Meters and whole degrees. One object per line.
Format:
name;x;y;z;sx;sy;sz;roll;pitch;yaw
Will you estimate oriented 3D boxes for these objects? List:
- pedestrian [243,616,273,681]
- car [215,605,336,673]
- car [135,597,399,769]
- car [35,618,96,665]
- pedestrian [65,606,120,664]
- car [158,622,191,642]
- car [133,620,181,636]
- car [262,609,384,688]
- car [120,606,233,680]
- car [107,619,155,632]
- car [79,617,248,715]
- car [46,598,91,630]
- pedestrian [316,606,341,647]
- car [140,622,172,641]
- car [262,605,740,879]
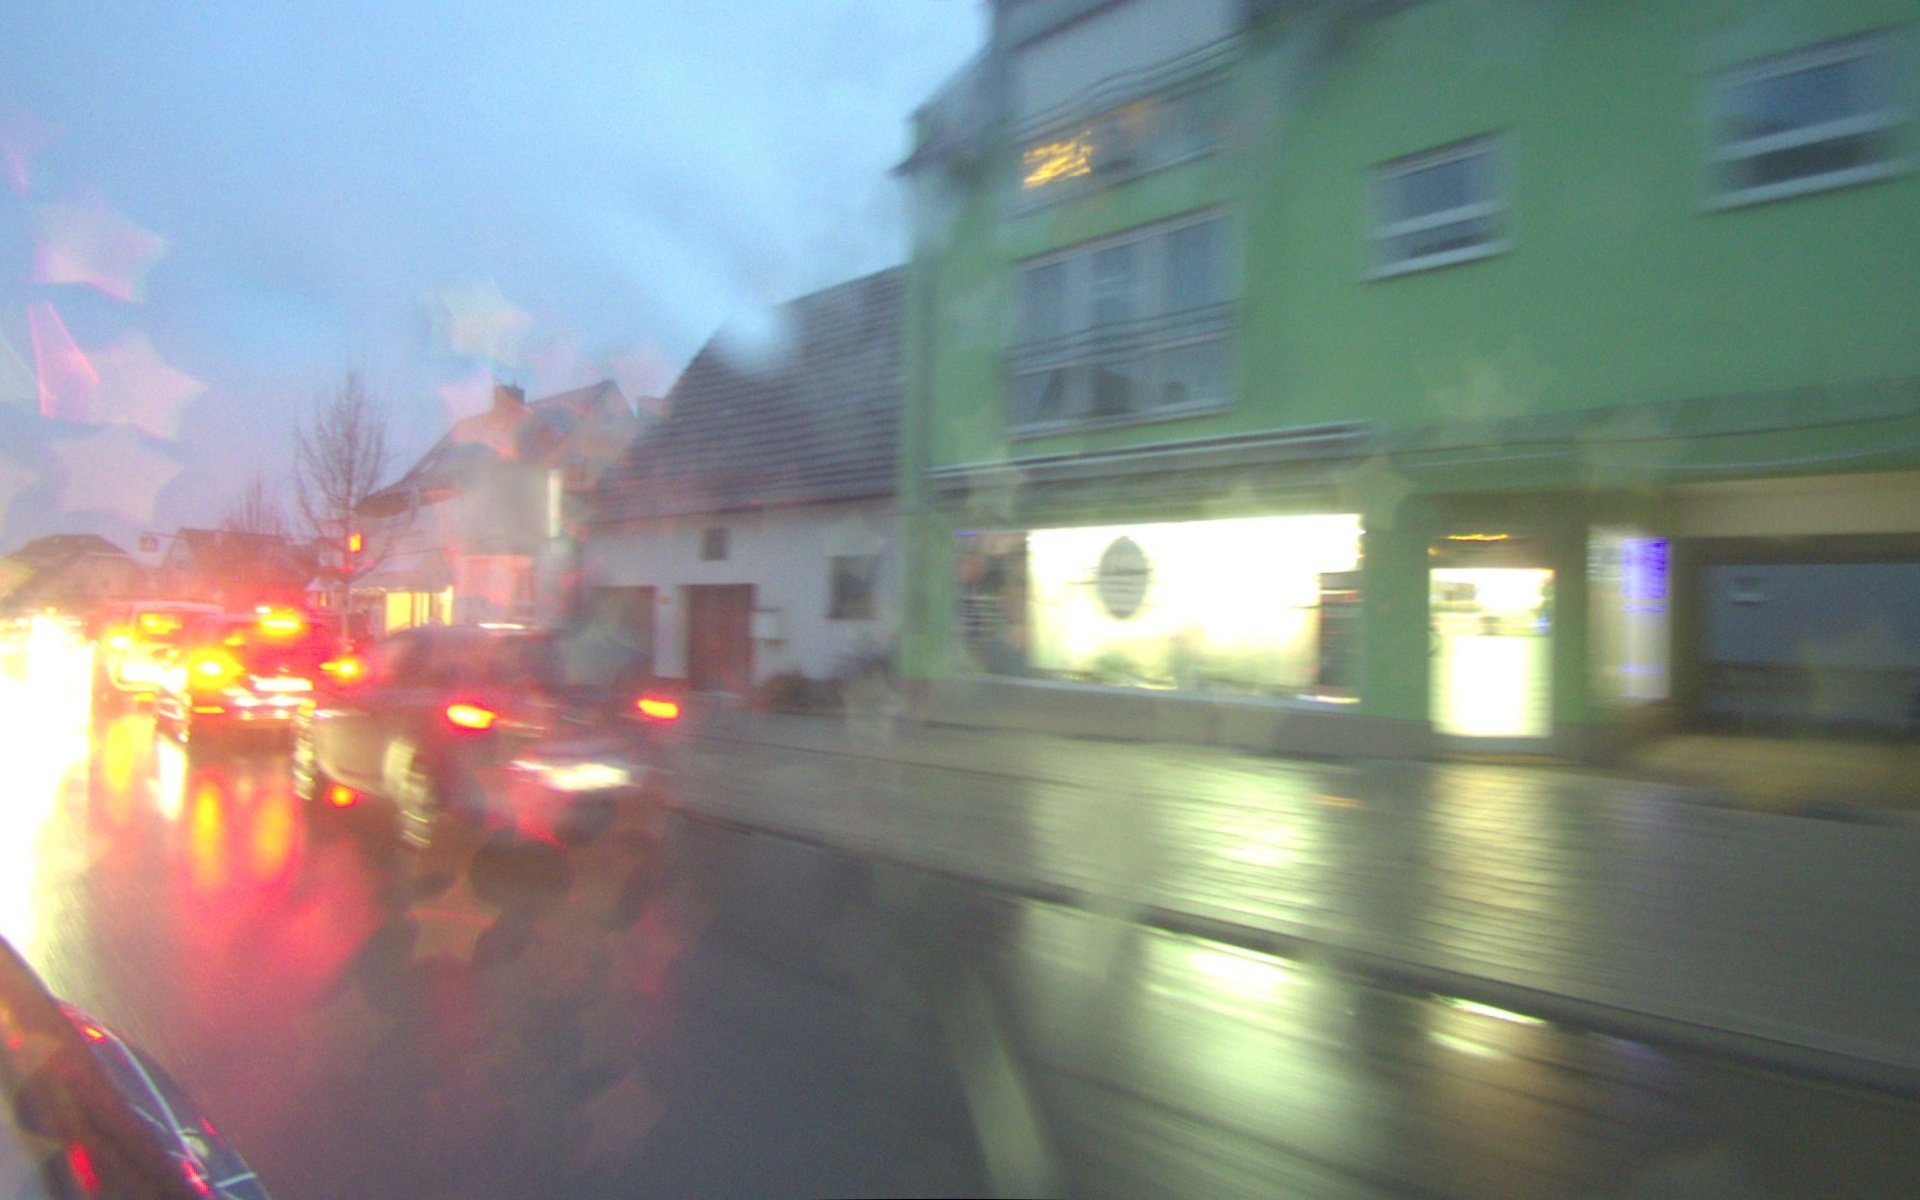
pedestrian;-17.441;1.199;25.147;0.522;1.597;0.577;2;-3;-42
car;-19.958;1.093;29.423;2.062;1.806;5.027;1;-2;-44
car;-9.307;1.009;13.455;4.261;1.564;1.840;0;-18;46
car;-41.139;1.842;46.497;1.970;2.029;4.004;0;-1;-43
pedestrian;-28.657;1.160;33.447;0.999;1.890;0.942;0;-1;2
car;-59.122;2.424;76.167;1.674;1.442;4.382;0;-1;-42
car;-83.507;2.862;105.303;3.781;1.557;2.005;0;-1;-35
car;-15.734;1.110;24.883;1.857;1.723;4.719;0;-1;-41
car;-20.602;1.116;26.522;1.969;1.719;4.972;-2;-1;-42
car;-88.595;2.737;108.215;3.935;1.309;2.004;0;-1;-38
car;-14.600;1.231;18.469;1.929;1.559;4.418;3;-6;-44
car;-54.660;0.862;62.035;1.970;1.868;4.004;0;-1;-43
pedestrian;-26.025;1.081;41.708;0.815;1.671;1.100;-1;-1;-35
car;-68.021;2.670;85.598;1.813;1.546;4.143;0;-1;-43
car;-3.803;0.924;8.019;4.257;1.568;1.972;-3;-4;43
